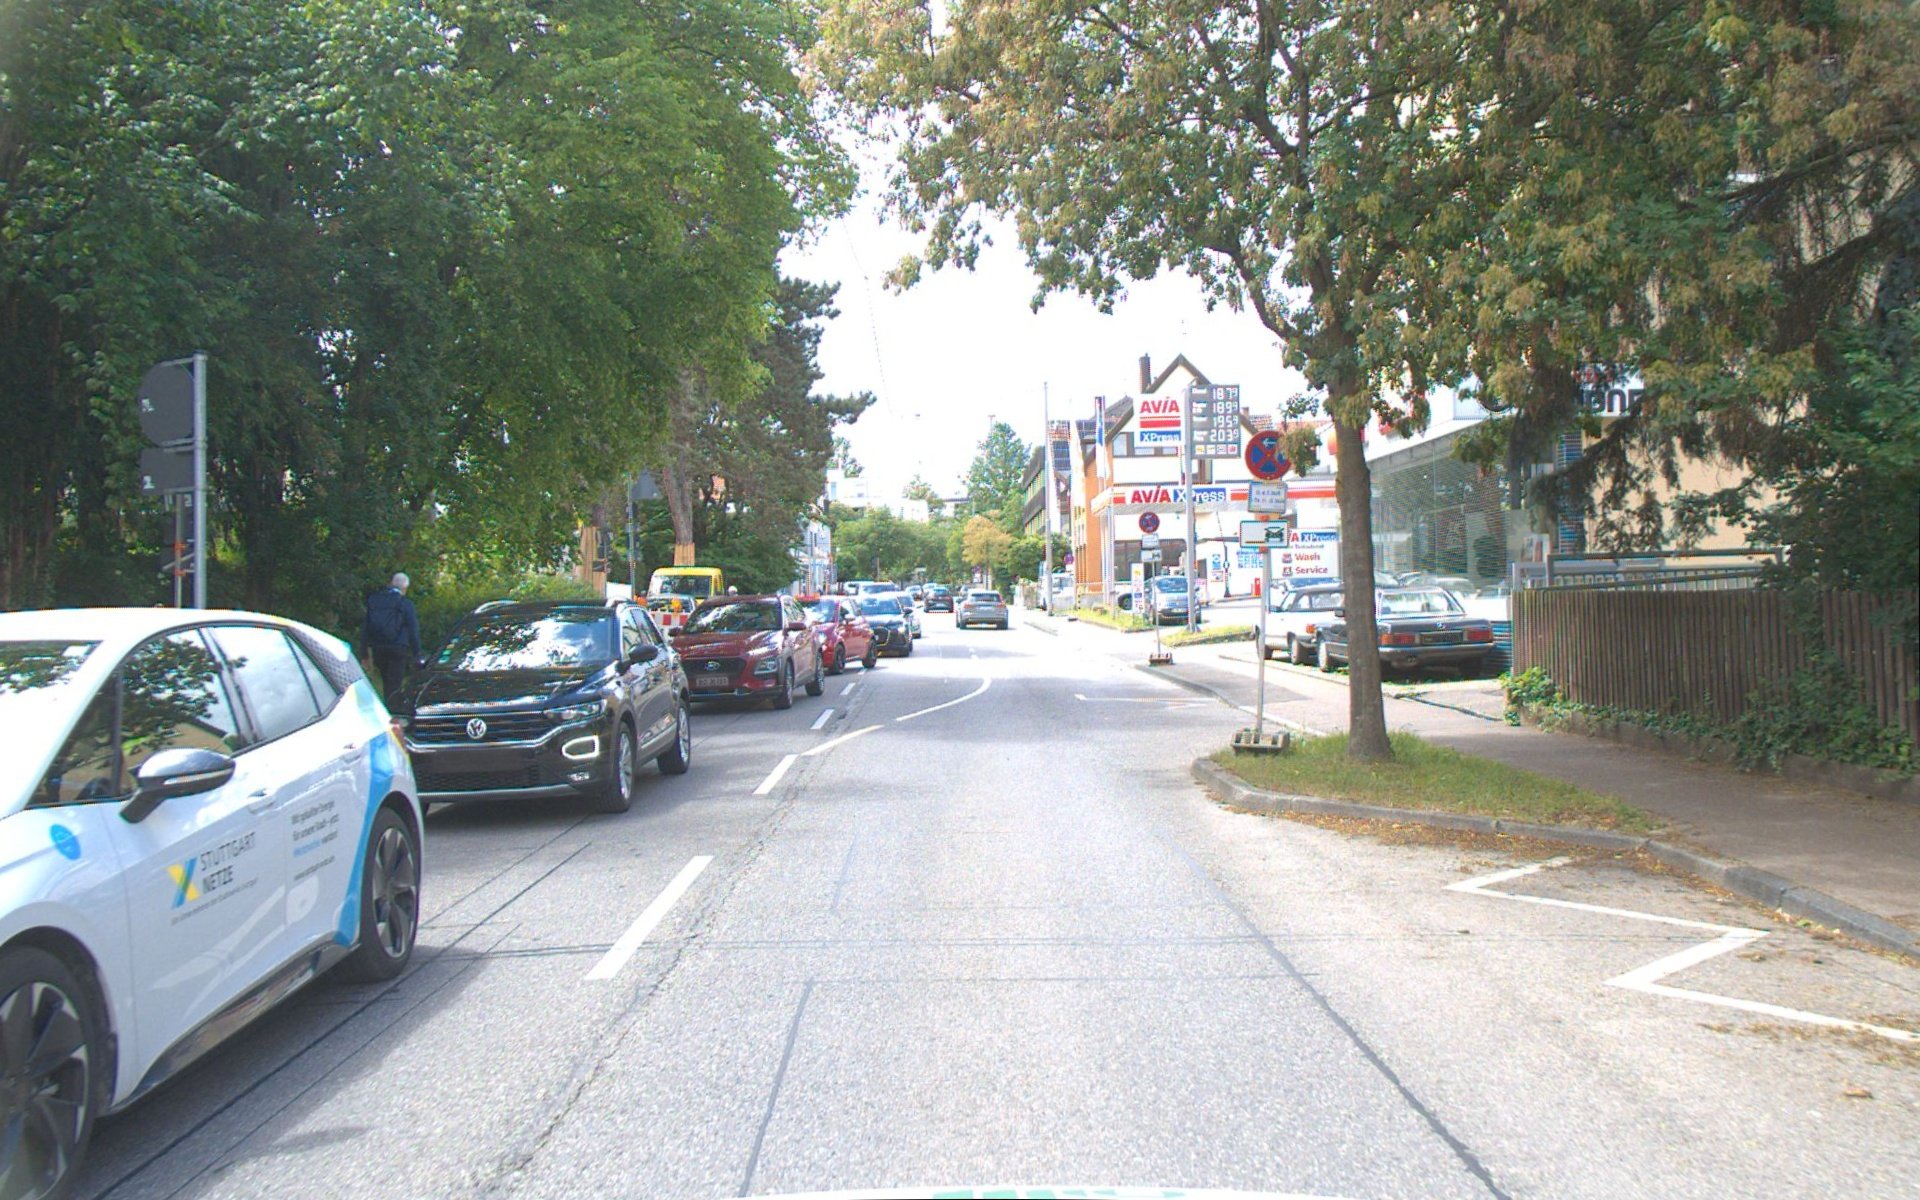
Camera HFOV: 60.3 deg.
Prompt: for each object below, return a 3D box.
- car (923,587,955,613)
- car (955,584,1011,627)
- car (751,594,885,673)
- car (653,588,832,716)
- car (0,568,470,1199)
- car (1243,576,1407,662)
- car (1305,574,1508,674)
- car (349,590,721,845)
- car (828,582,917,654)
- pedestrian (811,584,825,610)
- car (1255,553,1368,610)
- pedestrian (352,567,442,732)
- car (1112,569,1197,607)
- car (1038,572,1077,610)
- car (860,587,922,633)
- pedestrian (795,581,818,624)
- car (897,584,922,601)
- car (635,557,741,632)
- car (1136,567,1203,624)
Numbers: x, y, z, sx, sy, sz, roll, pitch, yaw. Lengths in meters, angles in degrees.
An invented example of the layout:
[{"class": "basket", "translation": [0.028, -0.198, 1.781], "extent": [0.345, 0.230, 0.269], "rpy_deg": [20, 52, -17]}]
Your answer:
[{"class": "car", "translation": [-1.274, -0.004, 99.966], "extent": [1.780, 1.527, 4.265], "rpy_deg": [0, 1, -3]}, {"class": "car", "translation": [0.855, 0.197, 63.909], "extent": [1.936, 1.539, 4.265], "rpy_deg": [2, 1, -2]}, {"class": "car", "translation": [-2.751, 0.620, 32.719], "extent": [1.655, 1.450, 3.440], "rpy_deg": [-1, 0, 12]}, {"class": "car", "translation": [-3.029, 0.676, 23.840], "extent": [1.725, 1.560, 4.098], "rpy_deg": [-3, 1, 4]}, {"class": "car", "translation": [-3.063, 0.768, 5.239], "extent": [1.749, 1.619, 4.153], "rpy_deg": [-3, 1, -1]}, {"class": "car", "translation": [6.507, 0.289, 29.966], "extent": [1.689, 1.387, 4.481], "rpy_deg": [-2, 1, -4]}, {"class": "car", "translation": [6.600, 0.298, 24.916], "extent": [1.690, 1.339, 4.264], "rpy_deg": [-1, 1, -3]}, {"class": "car", "translation": [-3.149, 0.773, 13.195], "extent": [1.752, 1.568, 4.264], "rpy_deg": [-3, 1, 0]}, {"class": "car", "translation": [-2.070, 0.416, 40.335], "extent": [1.889, 1.605, 4.296], "rpy_deg": [-1, 0, 0]}, {"class": "pedestrian", "translation": [-8.011, -0.183, 93.446], "extent": [0.690, 1.464, 0.714], "rpy_deg": [-1, 0, 3]}, {"class": "car", "translation": [9.336, -0.498, 44.229], "extent": [1.806, 1.379, 4.065], "rpy_deg": [-2, 1, -5]}, {"class": "pedestrian", "translation": [-6.341, 0.541, 18.669], "extent": [0.700, 1.792, 1.120], "rpy_deg": [-1, 0, -6]}, {"class": "car", "translation": [9.287, -0.564, 78.875], "extent": [3.902, 1.713, 1.792], "rpy_deg": [-1, 0, 8]}, {"class": "car", "translation": [5.470, -0.504, 93.388], "extent": [1.952, 2.049, 4.000], "rpy_deg": [-1, 0, 0]}, {"class": "car", "translation": [-2.221, 0.321, 53.991], "extent": [1.920, 1.418, 4.294], "rpy_deg": [-1, 0, -1]}, {"class": "pedestrian", "translation": [-5.265, 0.085, 56.804], "extent": [0.692, 1.464, 0.711], "rpy_deg": [-1, 0, -13]}, {"class": "car", "translation": [-4.701, -0.714, 155.362], "extent": [2.067, 1.527, 4.268], "rpy_deg": [-2, 1, 1]}, {"class": "car", "translation": [-7.800, -0.136, 47.910], "extent": [2.101, 2.015, 4.931], "rpy_deg": [-1, 0, 1]}, {"class": "car", "translation": [6.856, -0.170, 54.331], "extent": [1.747, 1.662, 3.693], "rpy_deg": [-5, 1, 2]}]
